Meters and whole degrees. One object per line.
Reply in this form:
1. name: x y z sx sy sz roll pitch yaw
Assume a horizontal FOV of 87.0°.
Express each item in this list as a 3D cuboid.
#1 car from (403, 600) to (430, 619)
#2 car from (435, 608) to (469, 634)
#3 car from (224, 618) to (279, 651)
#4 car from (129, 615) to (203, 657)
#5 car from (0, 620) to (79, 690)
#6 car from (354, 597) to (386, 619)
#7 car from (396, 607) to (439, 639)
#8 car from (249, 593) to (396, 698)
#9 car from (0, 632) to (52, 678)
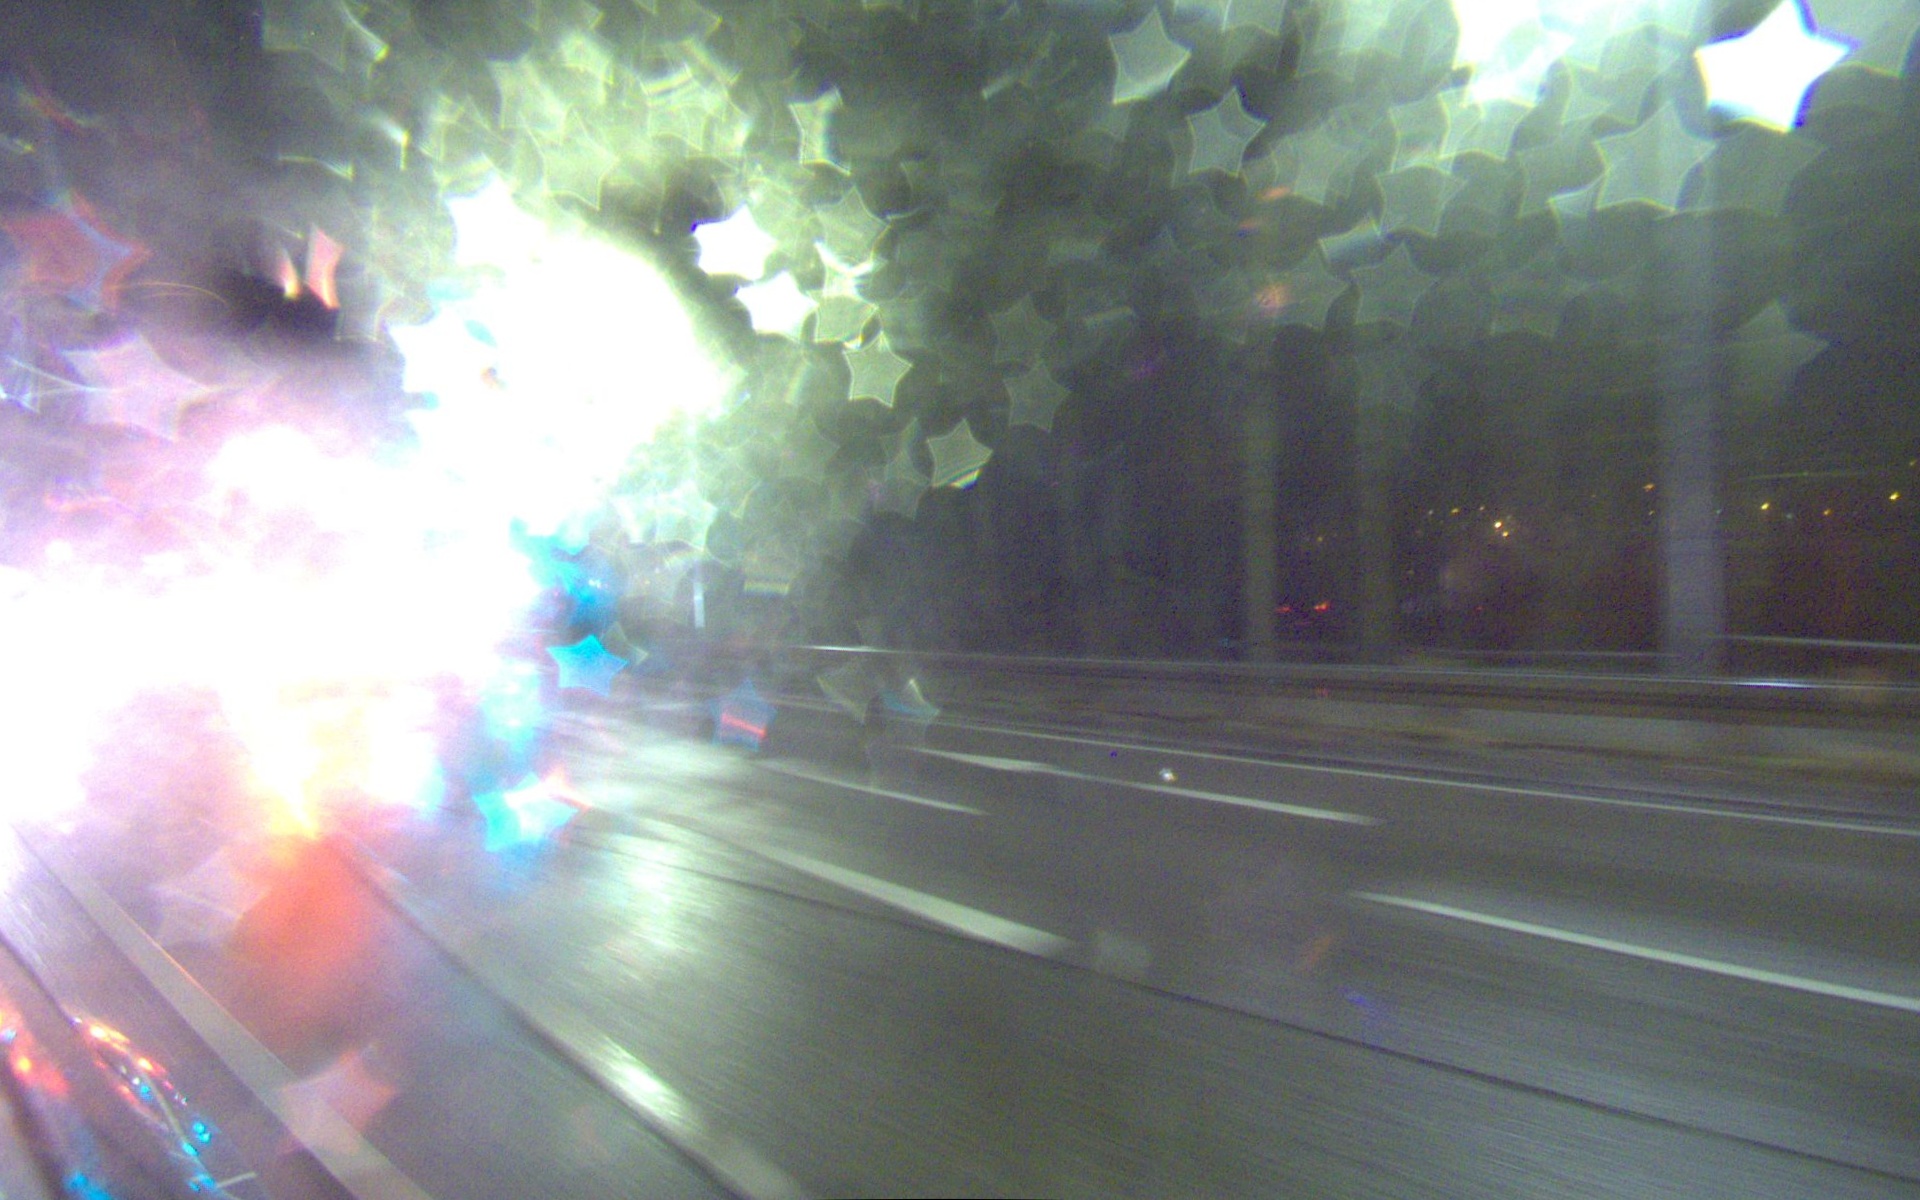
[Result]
1. car: -61.478 1.128 114.522 1.838 2.029 4.012 -2 0 -17
2. car: -33.931 1.397 67.670 1.957 1.617 4.849 -1 -1 -26
3. car: -46.692 2.225 66.768 1.838 2.029 4.012 -2 0 -19
4. car: -42.516 1.888 54.285 1.965 2.029 4.013 -2 0 -21
5. car: -35.611 2.063 39.103 1.969 2.027 4.009 -8 8 -38
6. car: -59.186 0.822 101.539 1.838 2.029 4.012 -2 0 -17
7. car: -29.194 1.230 54.553 1.957 1.617 4.849 -1 -1 -28
8. car: -12.193 0.786 19.219 1.973 1.687 4.627 -2 0 -37
9. car: -44.337 2.581 47.087 1.805 2.029 4.013 -2 -1 -21
